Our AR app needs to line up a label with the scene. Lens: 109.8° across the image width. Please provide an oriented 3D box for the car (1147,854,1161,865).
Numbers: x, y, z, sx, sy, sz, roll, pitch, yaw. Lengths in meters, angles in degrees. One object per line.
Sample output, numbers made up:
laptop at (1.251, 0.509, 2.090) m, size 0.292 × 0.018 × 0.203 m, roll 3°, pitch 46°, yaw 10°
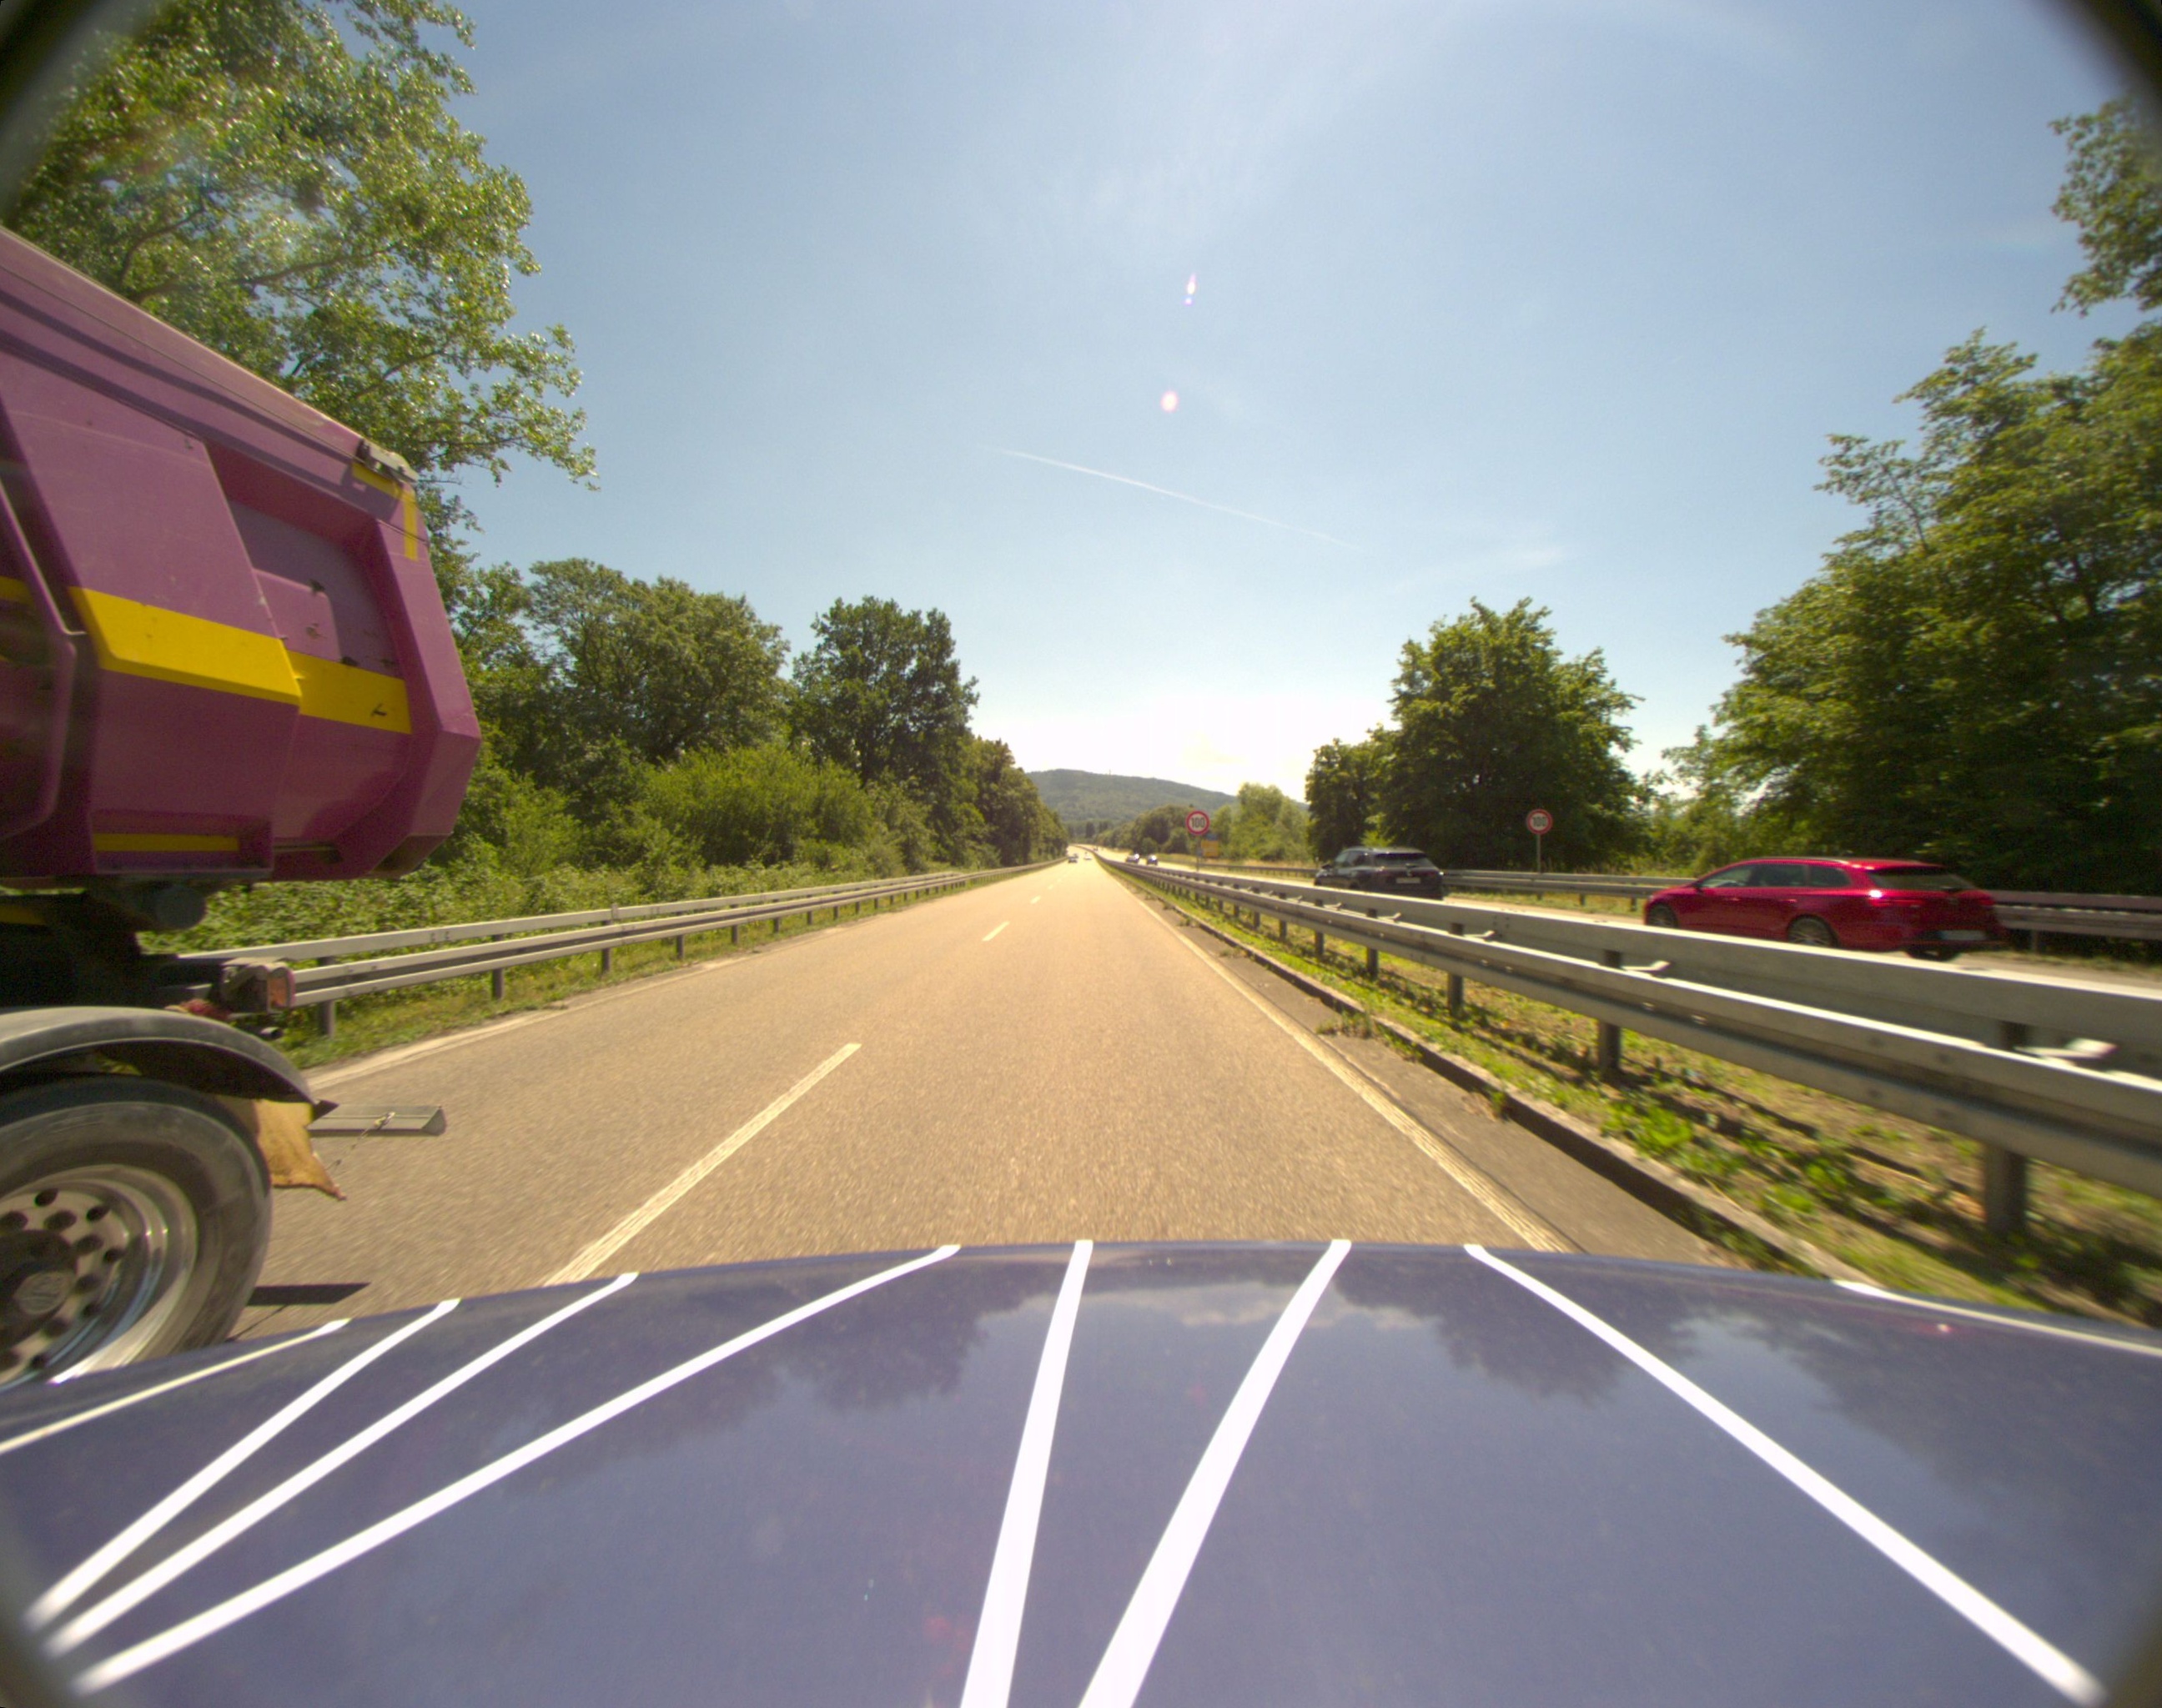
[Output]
car at (12.343, 0.899, 128.612) m, size 1.998 × 1.652 × 4.388 m, roll -2°, pitch 1°, yaw 1°

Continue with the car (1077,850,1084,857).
car at (-0.147, -0.134, 248.845) m, size 1.998 × 2.002 × 4.001 m, roll 0°, pitch 0°, yaw 3°

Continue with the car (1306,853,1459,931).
car at (7.032, 0.804, 18.294) m, size 1.998 × 1.652 × 4.389 m, roll 0°, pitch 0°, yaw 1°

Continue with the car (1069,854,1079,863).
car at (-1.506, 0.923, 159.240) m, size 1.998 × 2.002 × 4.000 m, roll 0°, pitch 0°, yaw 1°

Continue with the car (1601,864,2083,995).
car at (10.814, 0.921, 11.665) m, size 1.998 × 1.485 × 5.444 m, roll 0°, pitch 0°, yaw 1°

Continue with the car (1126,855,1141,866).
car at (8.215, 1.009, 119.425) m, size 1.998 × 1.652 × 4.389 m, roll 0°, pitch 0°, yaw 1°
